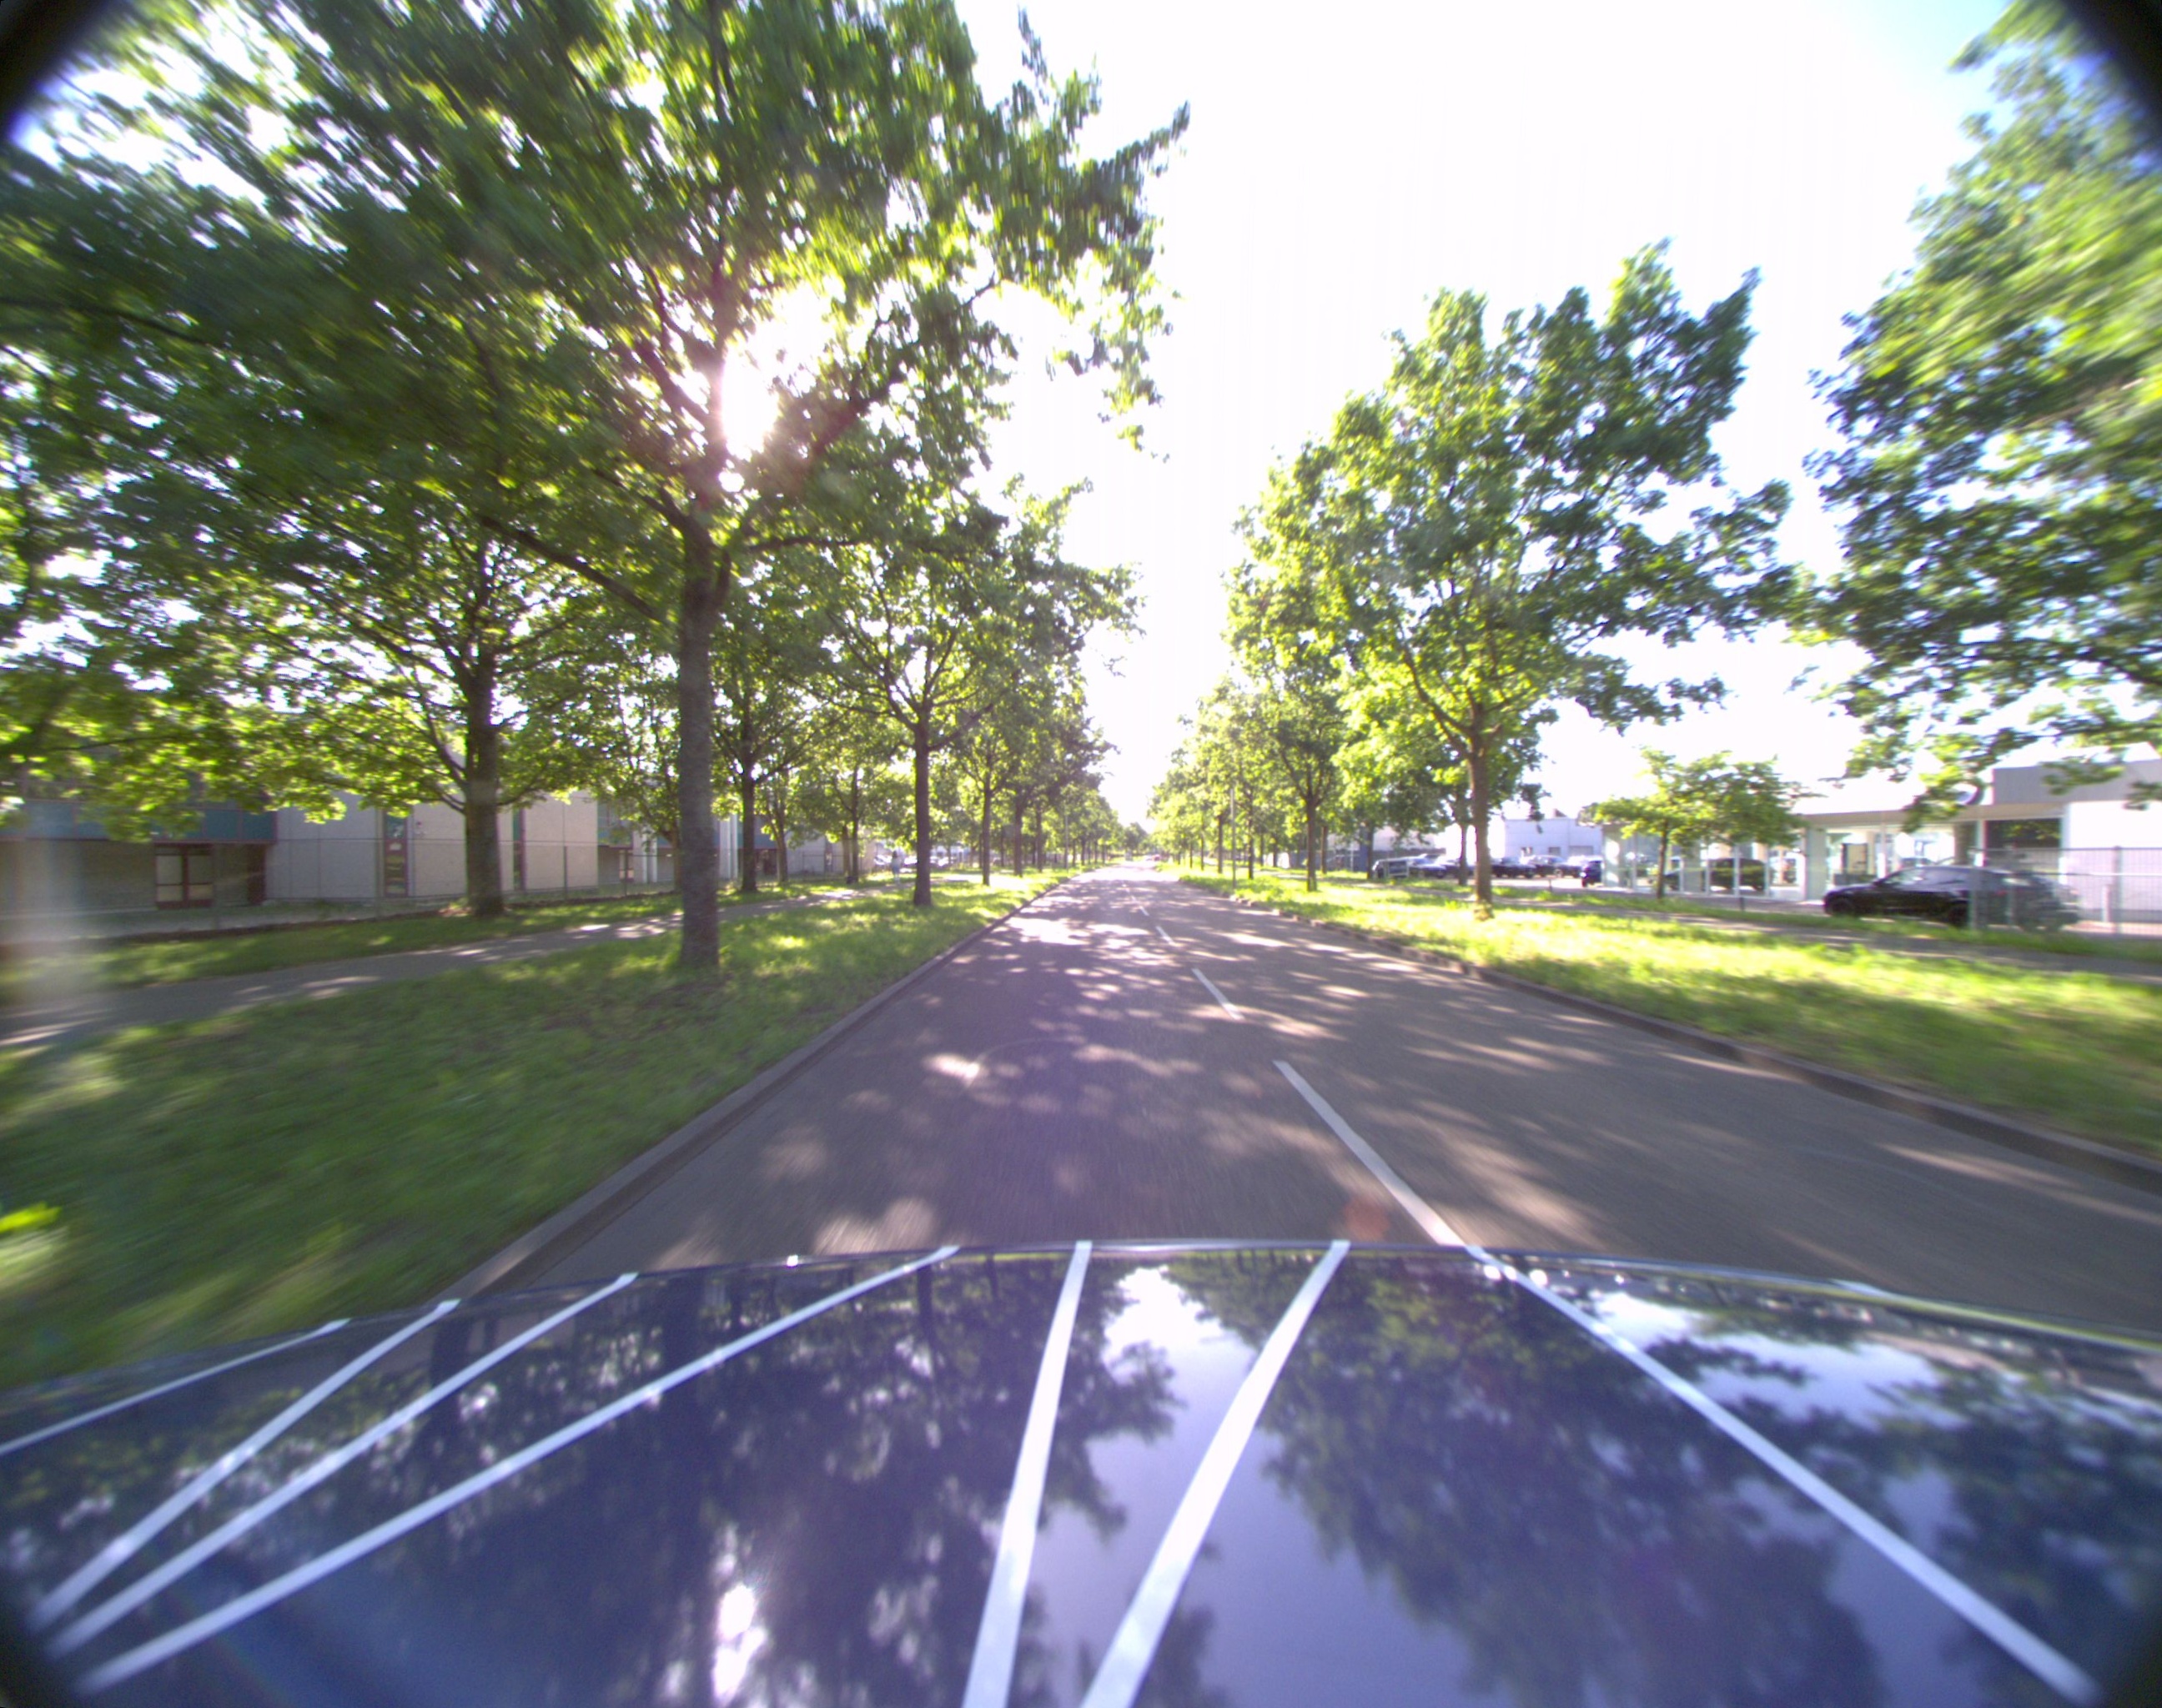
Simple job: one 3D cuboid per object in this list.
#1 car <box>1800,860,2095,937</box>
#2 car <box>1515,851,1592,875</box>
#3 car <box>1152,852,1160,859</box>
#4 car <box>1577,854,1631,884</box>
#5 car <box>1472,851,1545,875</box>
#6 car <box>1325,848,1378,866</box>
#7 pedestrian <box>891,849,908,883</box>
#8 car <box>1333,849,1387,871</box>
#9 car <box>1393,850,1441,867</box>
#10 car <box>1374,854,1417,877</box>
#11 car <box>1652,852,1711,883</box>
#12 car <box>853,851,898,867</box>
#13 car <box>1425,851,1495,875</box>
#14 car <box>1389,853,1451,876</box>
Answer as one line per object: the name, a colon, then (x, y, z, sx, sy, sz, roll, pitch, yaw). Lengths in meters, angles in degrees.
car: (22.054, 1.042, 19.771, 1.998, 1.588, 5.015, -2, 1, 1)
car: (35.994, 0.671, 58.120, 2.000, 1.651, 5.255, -2, 1, -9)
car: (18.689, 0.376, 189.546, 1.771, 1.663, 4.200, 1, 1, 4)
car: (30.817, 0.852, 44.715, 1.994, 1.651, 5.271, -2, -1, 41)
car: (32.686, 0.652, 58.358, 2.000, 1.680, 5.255, -2, 1, -9)
car: (25.205, 0.259, 70.898, 4.320, 1.510, 1.862, -2, 1, 5)
pedestrian: (-8.942, 0.584, 37.444, 0.609, 1.621, 0.719, 2, 0, 3)
car: (24.019, 0.515, 65.555, 3.995, 1.732, 2.001, -2, 1, 6)
car: (34.085, 0.483, 77.147, 3.995, 1.510, 1.752, -2, 1, 5)
car: (20.498, 0.759, 49.587, 2.570, 1.461, 1.427, 0, 1, 19)
car: (34.883, 0.773, 44.252, 1.995, 1.651, 5.020, -1, -1, 30)
car: (-25.394, 0.627, 93.989, 5.075, 1.948, 1.895, 0, 1, 0)
car: (29.195, 0.643, 58.731, 2.000, 1.707, 5.254, -2, 1, -11)
car: (26.172, 0.786, 58.844, 2.001, 1.665, 4.494, -2, 1, -13)
